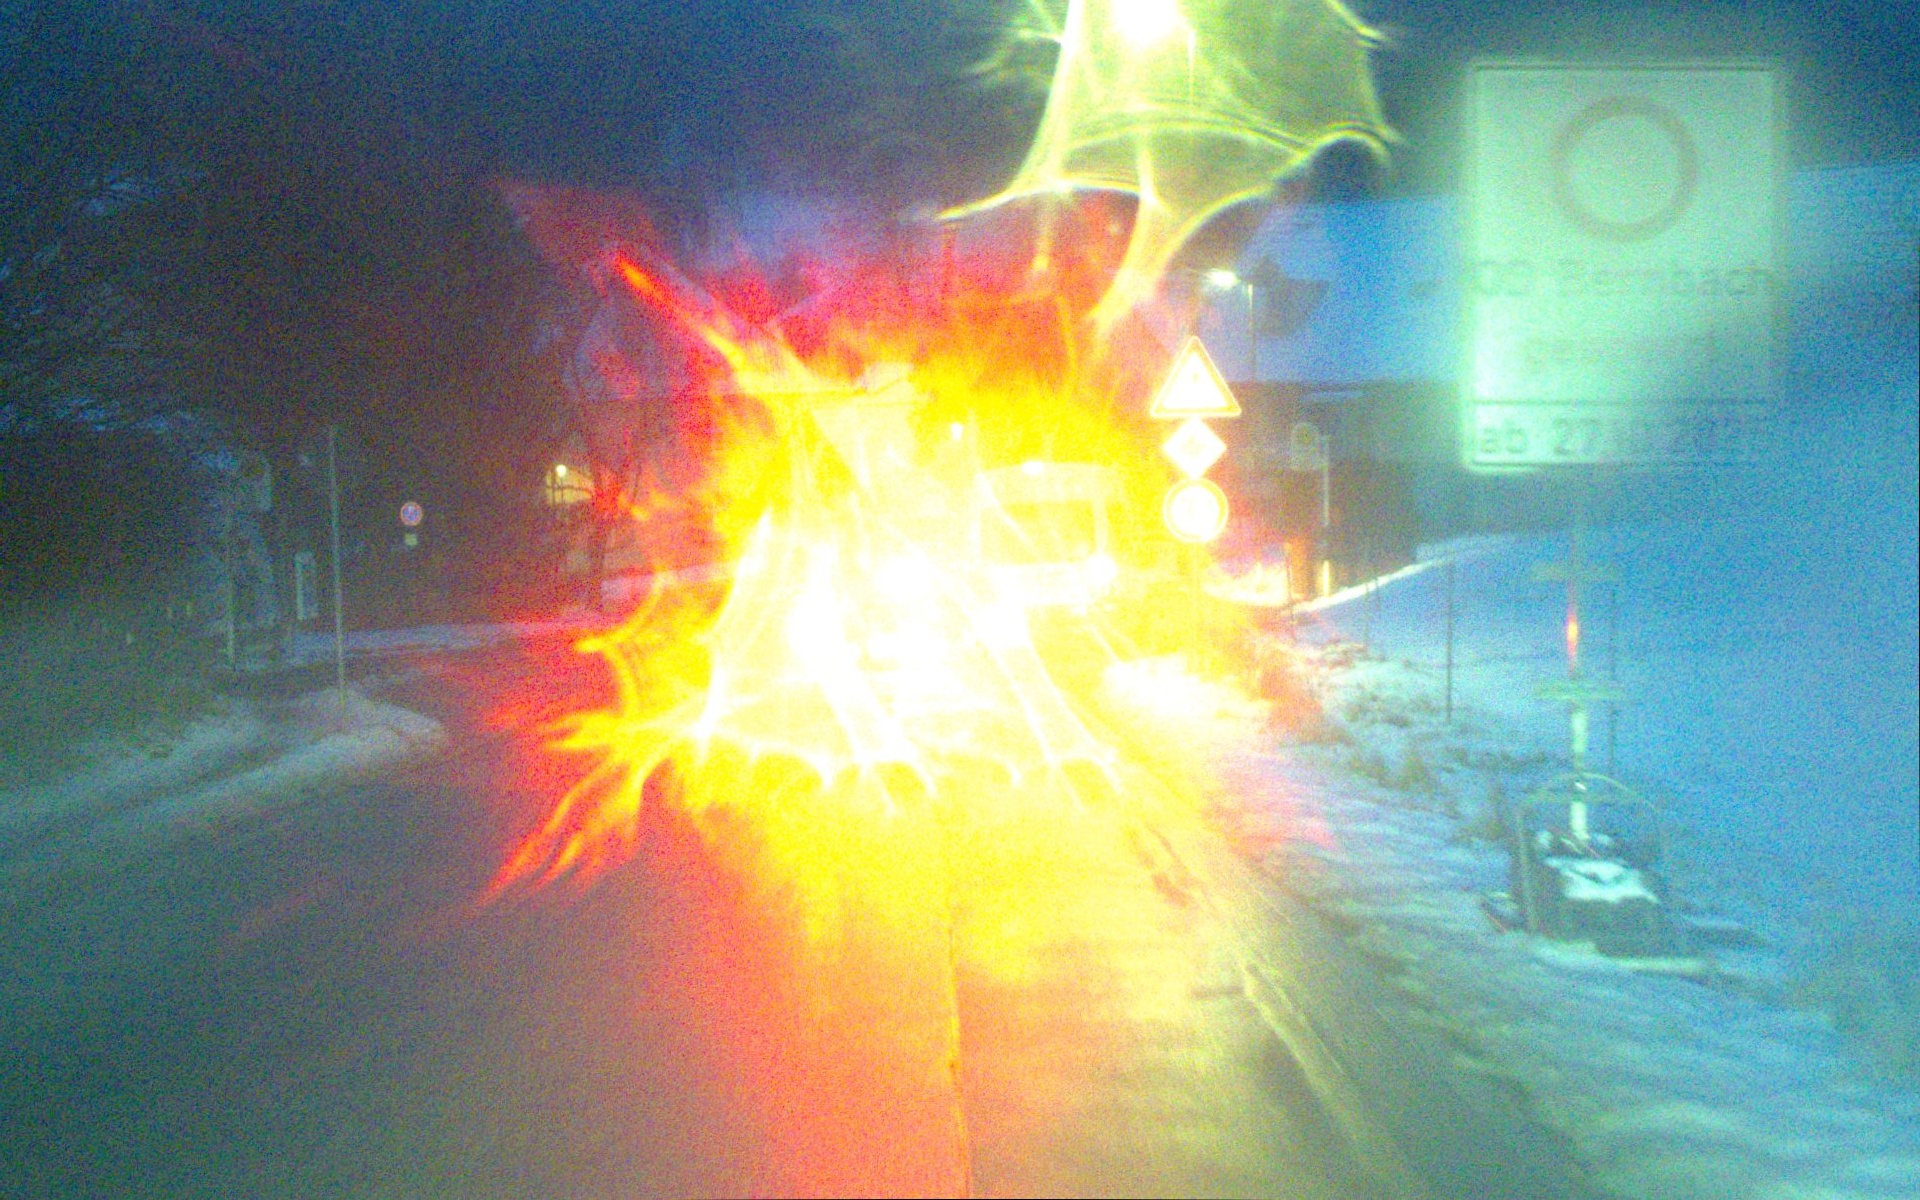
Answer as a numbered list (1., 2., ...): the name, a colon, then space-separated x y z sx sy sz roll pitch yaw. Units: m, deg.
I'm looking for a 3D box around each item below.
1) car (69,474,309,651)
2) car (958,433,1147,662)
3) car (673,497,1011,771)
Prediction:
1. car: -11.883 -0.612 53.487 2.469 2.562 6.229 -1 1 -2
2. car: 1.293 -0.703 49.295 2.435 3.008 5.325 -2 0 1
3. car: -0.891 0.194 25.847 2.274 1.834 5.007 -1 1 -2
